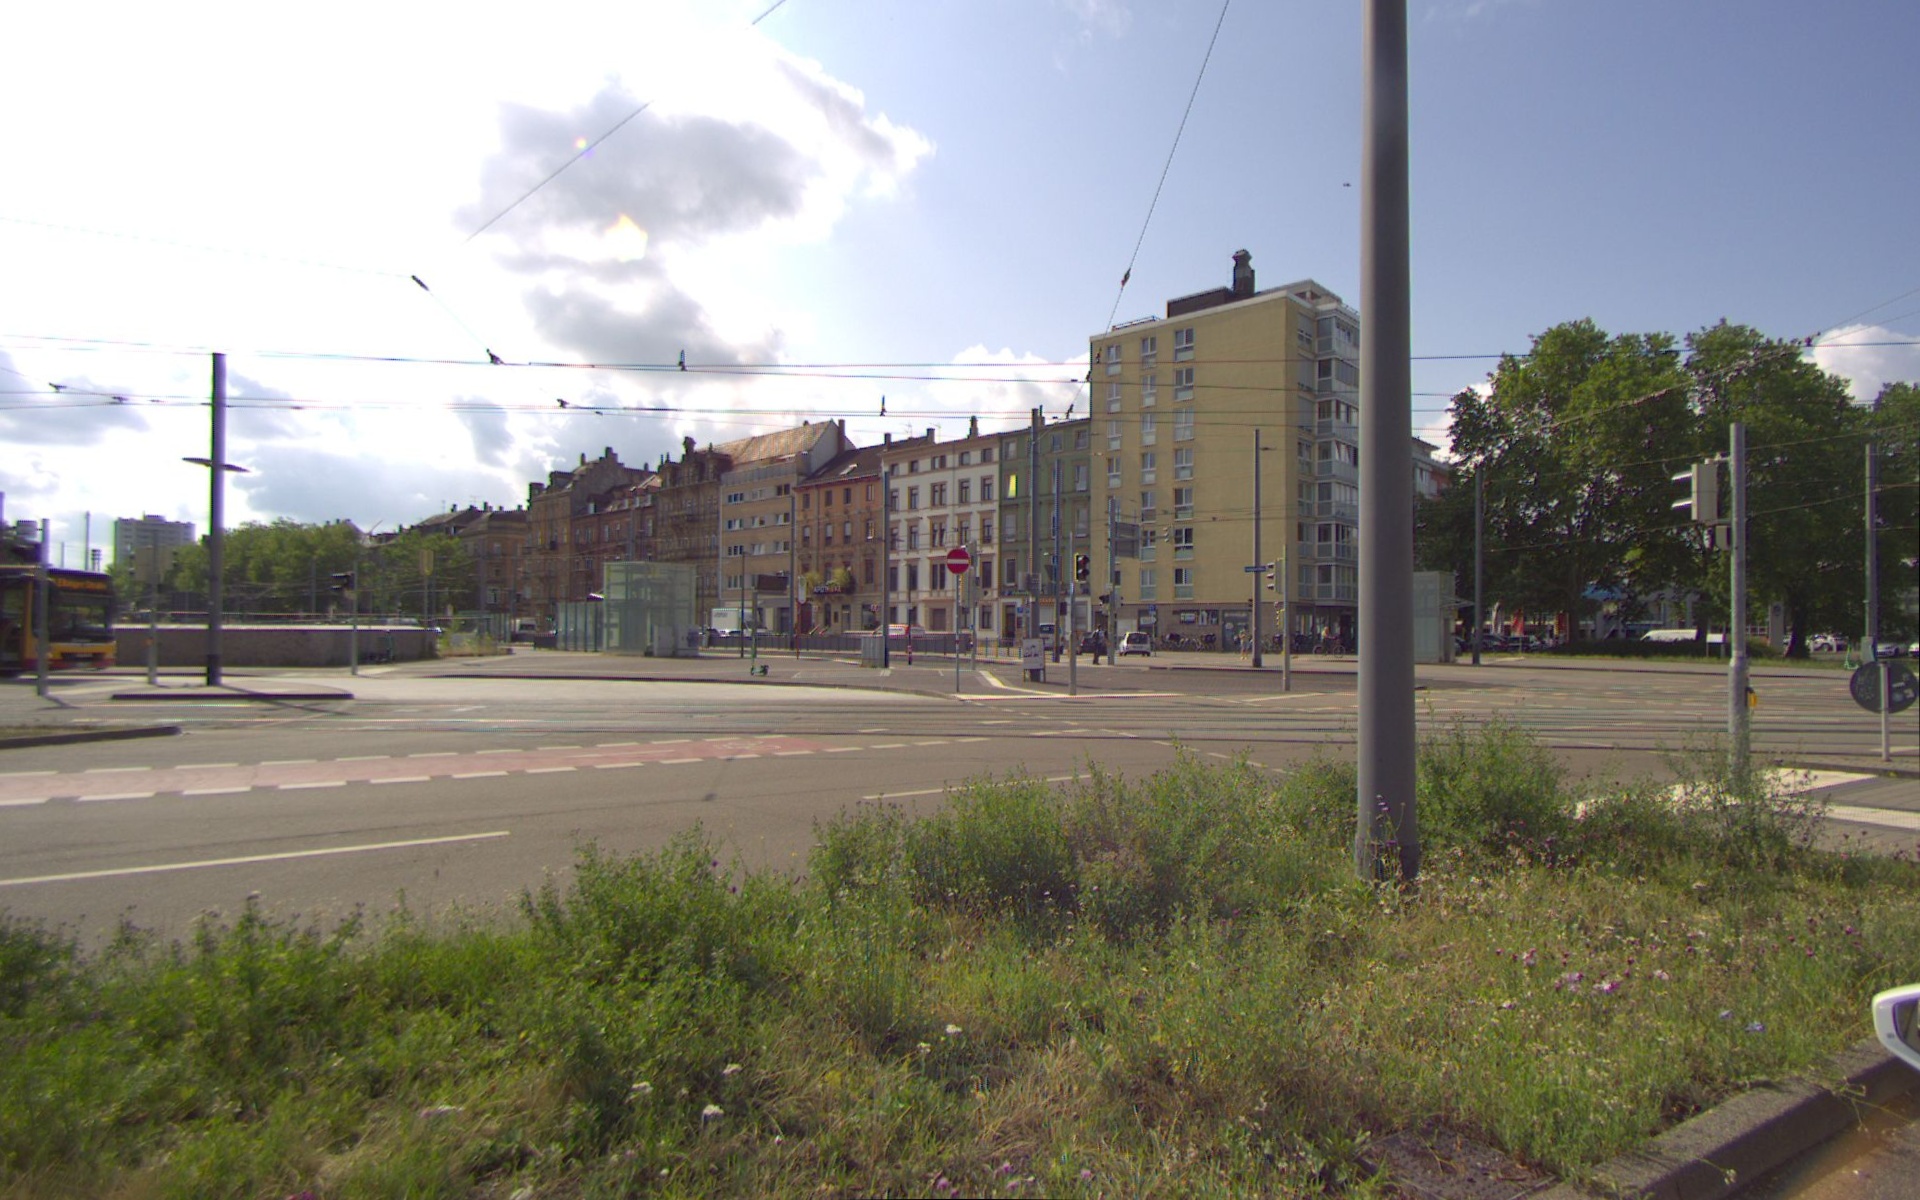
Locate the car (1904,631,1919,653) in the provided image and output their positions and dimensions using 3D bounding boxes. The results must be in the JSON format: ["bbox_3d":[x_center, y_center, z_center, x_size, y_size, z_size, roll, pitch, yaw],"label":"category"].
[{"bbox_3d":[75.013,3.266,77.747,3.959,1.625,2.055,1,-2,-34],"label":"car"}]

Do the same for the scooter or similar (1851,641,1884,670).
[{"bbox_3d":[39.400,2.425,43.611,0.911,1.173,0.381,3,4,5],"label":"scooter or similar"}]

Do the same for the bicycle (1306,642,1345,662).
[{"bbox_3d":[20.853,2.960,57.340,1.961,1.142,0.786,-1,-2,38],"label":"bicycle"}]

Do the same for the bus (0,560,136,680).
[{"bbox_3d":[-25.481,0.496,25.277,6.964,2.871,2.699,1,-1,-4],"label":"bus"}]

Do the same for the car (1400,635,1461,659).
[{"bbox_3d":[33.747,3.335,72.078,3.524,1.550,1.989,1,0,43],"label":"car"}]

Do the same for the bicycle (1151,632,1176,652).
[{"bbox_3d":[13.960,2.875,68.977,0.484,1.218,1.624,1,3,-43],"label":"bicycle"}]

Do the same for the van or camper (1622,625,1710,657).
[{"bbox_3d":[61.555,3.509,87.705,2.361,2.502,5.858,1,0,-25],"label":"van or camper"}]

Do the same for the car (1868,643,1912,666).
[{"bbox_3d":[74.097,4.321,80.047,3.965,1.595,1.978,2,0,-38],"label":"car"}]

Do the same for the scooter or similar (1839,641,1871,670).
[{"bbox_3d":[39.387,2.426,44.205,0.911,1.173,0.381,3,4,16],"label":"scooter or similar"}]

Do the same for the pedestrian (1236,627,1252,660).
[{"bbox_3d":[15.678,2.396,55.411,0.770,1.783,0.995,1,-1,19],"label":"pedestrian"}]

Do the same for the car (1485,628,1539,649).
[{"bbox_3d":[45.099,3.138,82.088,1.654,1.615,3.574,2,-2,-43],"label":"car"}]

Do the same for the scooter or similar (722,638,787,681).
[{"bbox_3d":[-6.224,1.787,30.426,1.330,1.205,1.475,1,0,-44],"label":"scooter or similar"}]

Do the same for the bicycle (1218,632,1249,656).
[{"bbox_3d":[17.761,2.859,65.265,1.859,1.289,0.486,6,5,36],"label":"bicycle"}]

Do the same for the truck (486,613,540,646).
[{"bbox_3d":[-50.520,3.284,113.365,7.197,3.330,3.160,2,2,45],"label":"truck"}]

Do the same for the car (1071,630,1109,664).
[{"bbox_3d":[8.089,2.924,62.920,1.853,1.488,5.063,3,4,2],"label":"car"}]

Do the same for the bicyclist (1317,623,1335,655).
[{"bbox_3d":[20.893,2.228,57.383,0.815,1.768,0.709,-1,-2,37],"label":"bicyclist"}]

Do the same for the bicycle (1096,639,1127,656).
[{"bbox_3d":[10.312,3.207,68.383,1.964,1.142,0.785,-1,-2,43],"label":"bicycle"}]

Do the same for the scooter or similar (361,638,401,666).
[{"bbox_3d":[-20.704,1.868,35.936,0.464,0.962,1.664,2,-3,-1],"label":"scooter or similar"}]

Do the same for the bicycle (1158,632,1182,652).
[{"bbox_3d":[14.468,2.889,69.219,0.484,1.218,1.624,1,3,-43],"label":"bicycle"}]

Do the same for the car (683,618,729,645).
[{"bbox_3d":[-21.101,2.616,83.387,3.945,2.040,1.988,1,0,44],"label":"car"}]

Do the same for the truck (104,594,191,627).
[{"bbox_3d":[-93.894,1.281,116.204,2.433,3.696,7.419,-1,-2,38],"label":"truck"}]

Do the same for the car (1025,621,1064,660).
[{"bbox_3d":[5.540,2.610,66.385,2.039,2.113,4.897,3,2,-1],"label":"car"}]

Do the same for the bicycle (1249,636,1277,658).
[{"bbox_3d":[19.443,3.006,64.512,0.484,1.289,1.624,1,3,-43],"label":"bicycle"}]

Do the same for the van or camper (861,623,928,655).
[{"bbox_3d":[-4.516,2.653,69.162,4.454,1.940,2.006,1,0,40],"label":"van or camper"}]

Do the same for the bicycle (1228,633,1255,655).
[{"bbox_3d":[18.360,2.875,65.451,0.484,1.289,1.624,1,3,-43],"label":"bicycle"}]

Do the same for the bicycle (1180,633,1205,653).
[{"bbox_3d":[15.711,2.918,67.956,0.484,1.218,1.624,1,3,-43],"label":"bicycle"}]

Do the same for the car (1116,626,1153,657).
[{"bbox_3d":[10.609,2.509,61.285,1.685,1.460,3.512,4,2,3],"label":"car"}]

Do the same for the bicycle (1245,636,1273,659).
[{"bbox_3d":[19.074,2.995,64.123,0.528,1.289,1.624,1,3,-43],"label":"bicycle"}]

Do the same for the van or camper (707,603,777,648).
[{"bbox_3d":[-20.205,2.298,92.846,2.703,3.376,7.536,-2,6,-45],"label":"van or camper"}]

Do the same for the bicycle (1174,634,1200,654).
[{"bbox_3d":[15.274,2.965,67.606,0.545,1.218,1.624,1,3,-43],"label":"bicycle"}]

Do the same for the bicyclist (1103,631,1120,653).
[{"bbox_3d":[10.305,2.856,68.414,0.822,1.517,0.785,-1,-2,42],"label":"bicyclist"}]

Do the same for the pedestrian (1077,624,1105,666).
[{"bbox_3d":[5.669,1.940,43.524,0.783,1.696,0.840,6,6,42],"label":"pedestrian"}]
